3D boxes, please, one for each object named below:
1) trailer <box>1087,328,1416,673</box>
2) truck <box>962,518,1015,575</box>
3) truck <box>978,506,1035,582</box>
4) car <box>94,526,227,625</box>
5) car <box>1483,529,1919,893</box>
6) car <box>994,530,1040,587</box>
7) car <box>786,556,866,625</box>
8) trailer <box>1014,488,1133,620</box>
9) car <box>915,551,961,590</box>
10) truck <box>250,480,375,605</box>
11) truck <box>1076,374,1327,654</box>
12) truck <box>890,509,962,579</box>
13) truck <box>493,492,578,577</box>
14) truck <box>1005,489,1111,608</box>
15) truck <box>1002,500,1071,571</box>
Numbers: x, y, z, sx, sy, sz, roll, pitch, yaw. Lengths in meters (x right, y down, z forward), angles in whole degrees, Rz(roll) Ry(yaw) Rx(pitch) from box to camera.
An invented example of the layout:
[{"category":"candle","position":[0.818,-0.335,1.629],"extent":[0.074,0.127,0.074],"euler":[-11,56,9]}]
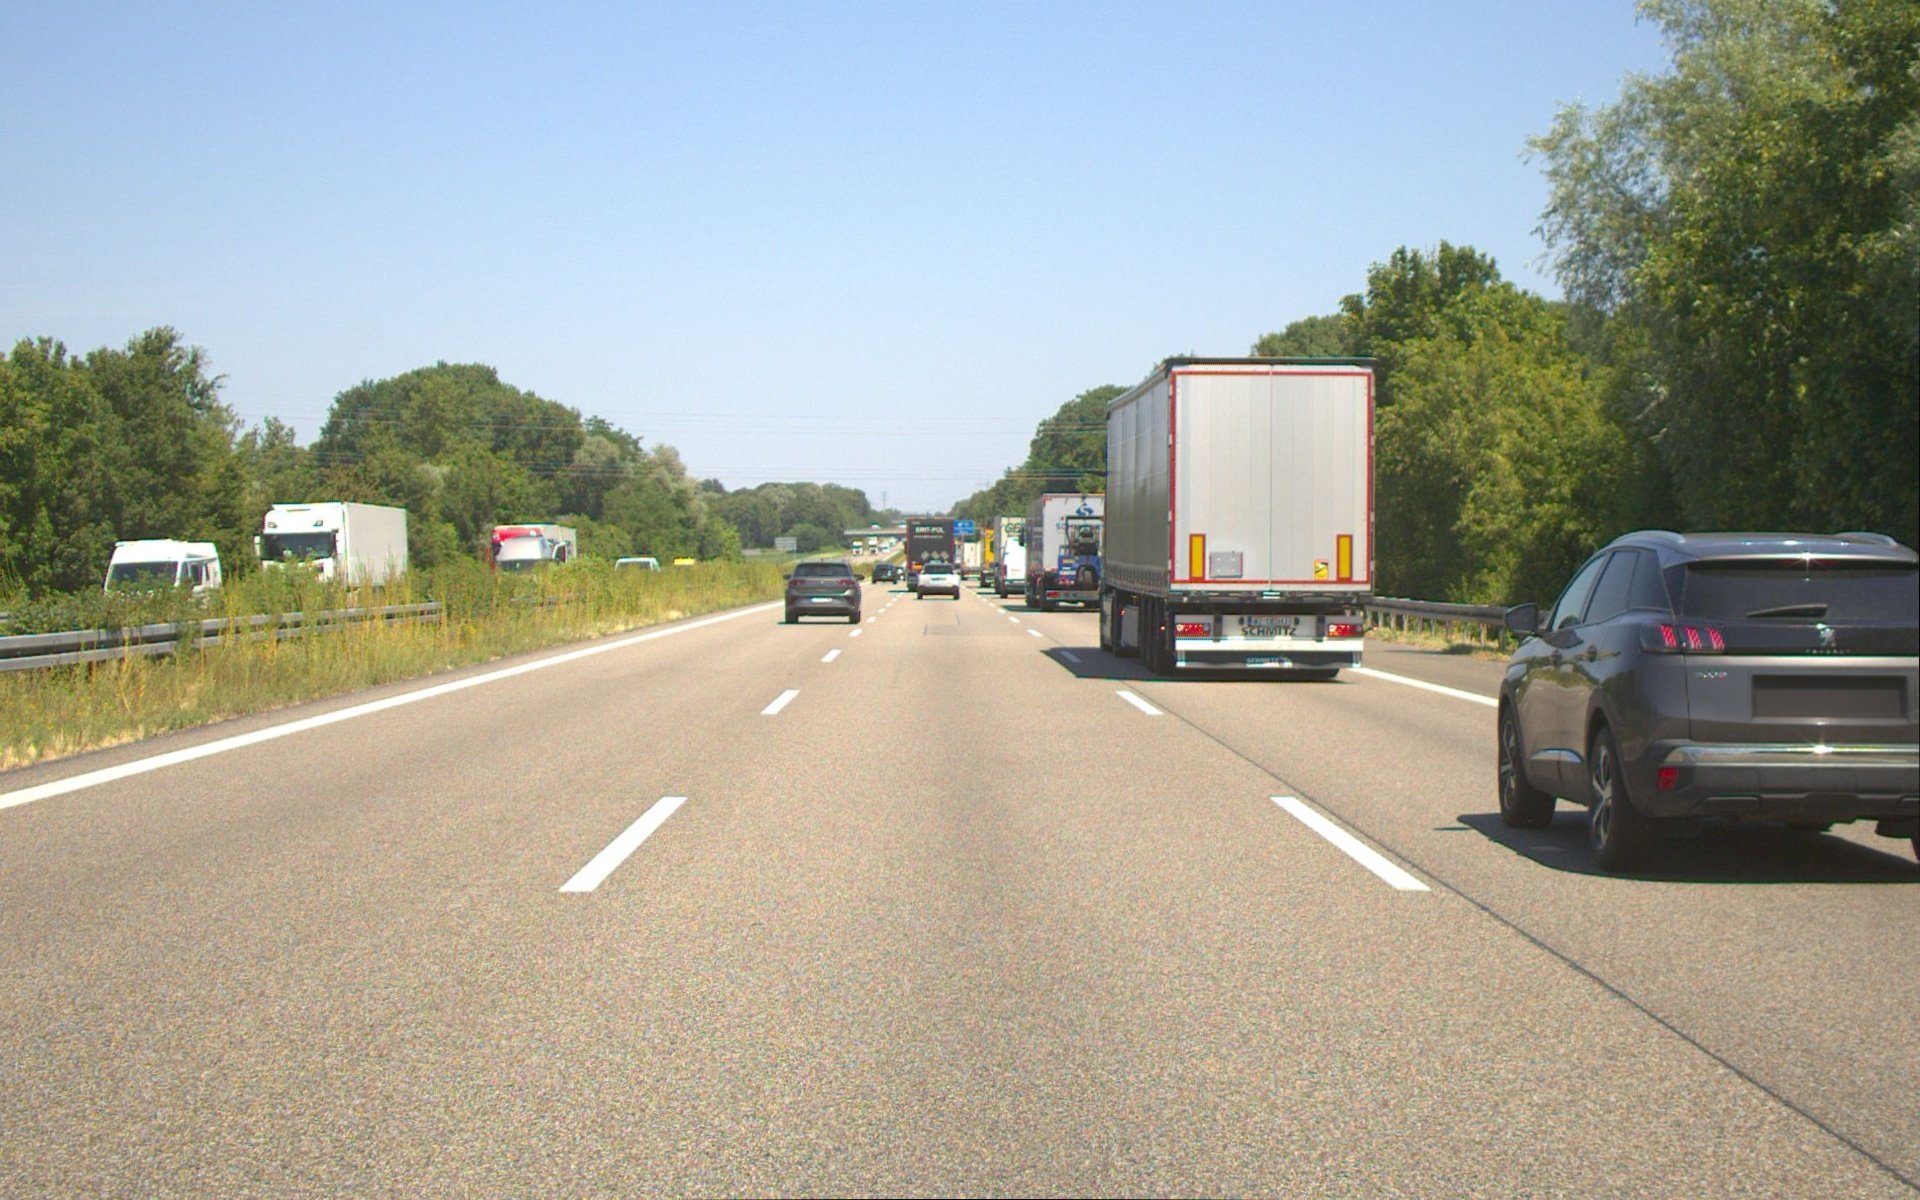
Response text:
[{"category":"trailer","position":[3.808,-1.306,48.817],"extent":[3.434,4.167,13.633],"euler":[1,1,0]},{"category":"truck","position":[1.933,-3.646,233.226],"extent":[3.489,3.713,7.108],"euler":[1,2,1]},{"category":"truck","position":[2.384,-2.882,174.943],"extent":[2.792,3.713,7.108],"euler":[1,2,1]},{"category":"car","position":[-20.870,-0.672,89.998],"extent":[2.103,2.455,6.016],"euler":[-1,1,-1]},{"category":"car","position":[3.897,0.457,17.494],"extent":[1.845,1.623,4.135],"euler":[0,1,0]},{"category":"car","position":[2.494,-1.845,150.879],"extent":[1.907,2.417,4.286],"euler":[1,2,0]},{"category":"car","position":[-3.242,-0.258,83.854],"extent":[1.759,1.525,4.286],"euler":[1,2,0]},{"category":"trailer","position":[3.493,-1.521,108.185],"extent":[3.122,3.913,9.938],"euler":[1,2,-1]},{"category":"car","position":[-0.922,-1.252,145.086],"extent":[1.900,1.525,4.084],"euler":[1,2,0]},{"category":"truck","position":[-22.149,-2.009,117.901],"extent":[3.071,4.097,6.526],"euler":[1,2,-1]},{"category":"truck","position":[3.765,-1.313,55.356],"extent":[3.464,4.163,6.844],"euler":[1,0,0]},{"category":"truck","position":[-1.821,-3.090,188.361],"extent":[3.667,3.713,7.108],"euler":[1,2,1]},{"category":"truck","position":[-22.234,-3.490,180.656],"extent":[3.071,4.295,10.627],"euler":[1,2,0]},{"category":"truck","position":[3.281,-1.850,118.218],"extent":[3.057,3.866,10.035],"euler":[1,2,-1]},{"category":"truck","position":[4.179,-3.565,188.422],"extent":[3.667,3.713,7.108],"euler":[1,2,1]}]
